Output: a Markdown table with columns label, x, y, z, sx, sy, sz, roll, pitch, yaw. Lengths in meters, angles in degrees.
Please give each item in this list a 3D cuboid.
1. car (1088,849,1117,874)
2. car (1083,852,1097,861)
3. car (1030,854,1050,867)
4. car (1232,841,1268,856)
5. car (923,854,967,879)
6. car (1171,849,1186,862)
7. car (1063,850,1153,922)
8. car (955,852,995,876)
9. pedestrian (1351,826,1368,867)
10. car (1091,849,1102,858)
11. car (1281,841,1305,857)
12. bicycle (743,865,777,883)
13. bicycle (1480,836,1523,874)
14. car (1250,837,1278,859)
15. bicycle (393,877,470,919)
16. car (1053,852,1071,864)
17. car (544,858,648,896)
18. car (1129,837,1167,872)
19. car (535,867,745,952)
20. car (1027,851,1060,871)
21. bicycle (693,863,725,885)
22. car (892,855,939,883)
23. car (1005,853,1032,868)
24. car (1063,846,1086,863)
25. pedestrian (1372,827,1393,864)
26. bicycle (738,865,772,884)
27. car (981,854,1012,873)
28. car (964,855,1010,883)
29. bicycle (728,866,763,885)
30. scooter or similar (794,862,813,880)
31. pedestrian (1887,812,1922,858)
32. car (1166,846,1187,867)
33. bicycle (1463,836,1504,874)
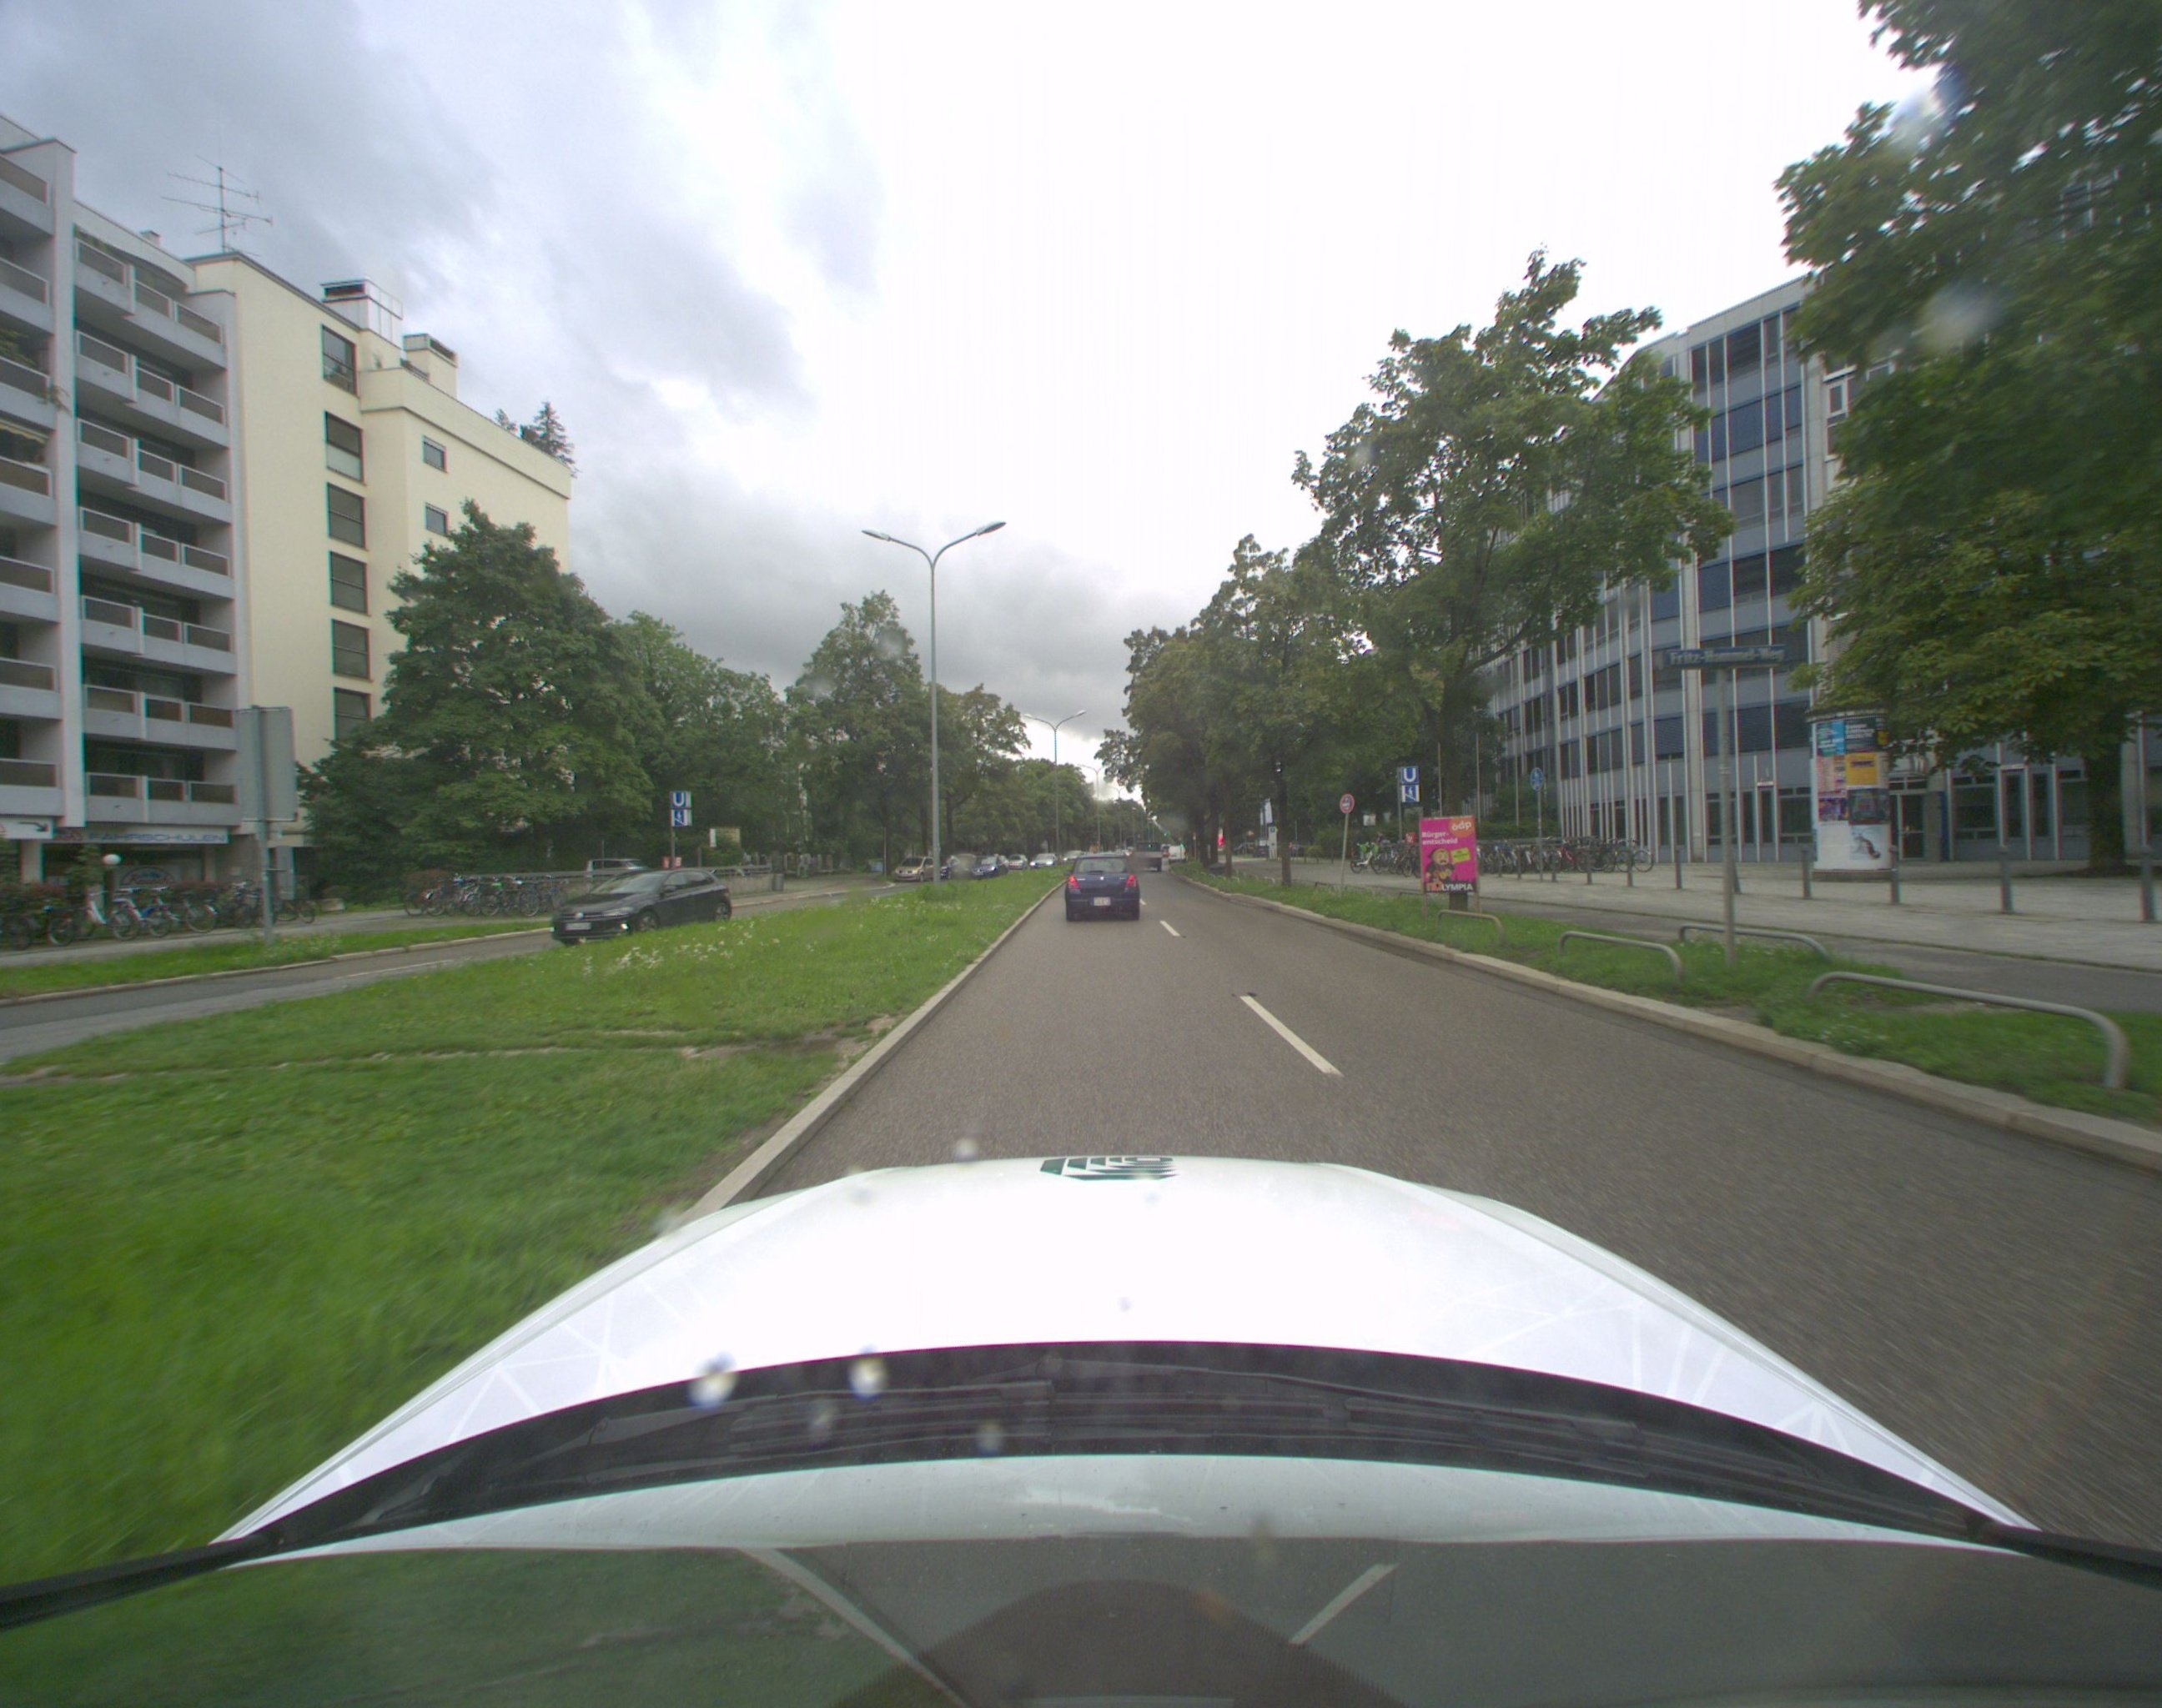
| label | x | y | z | sx | sy | sz | roll | pitch | yaw |
| --- | --- | --- | --- | --- | --- | --- | --- | --- | --- |
| car | 1.420 | 0.476 | 54.729 | 1.793 | 1.499 | 3.660 | -2 | 0 | 1 |
| car | 1.561 | 0.422 | 142.115 | 1.822 | 1.609 | 4.501 | 1 | 1 | 8 |
| car | -4.757 | 0.728 | 95.304 | 1.572 | 1.423 | 4.371 | 1 | 1 | 6 |
| car | 26.784 | -0.862 | 129.292 | 5.442 | 2.083 | 2.151 | -2 | 0 | 6 |
| car | -9.336 | 0.840 | 56.317 | 1.729 | 1.643 | 4.694 | 0 | 0 | 7 |
| car | 11.167 | 0.159 | 93.206 | 1.692 | 1.397 | 4.241 | -2 | 0 | 7 |
| car | 0.711 | 0.678 | 19.451 | 1.888 | 1.499 | 3.664 | -2 | 0 | 4 |
| car | -6.984 | 0.633 | 53.899 | 1.683 | 1.484 | 3.974 | -2 | 0 | 6 |
| pedestrian | 13.263 | -0.359 | 38.802 | 0.645 | 1.899 | 0.753 | -2 | 0 | 21 |
| car | 2.953 | -0.099 | 155.088 | 1.682 | 1.565 | 3.084 | -2 | 0 | 5 |
| car | 24.357 | -0.575 | 93.671 | 1.833 | 1.818 | 4.478 | -2 | 0 | 5 |
| bicycle | -18.727 | 1.174 | 47.512 | 1.753 | 1.007 | 0.437 | -2 | 0 | 6 |
| bicycle | 13.954 | 0.024 | 27.057 | 0.485 | 1.189 | 1.956 | -2 | 0 | 4 |
| car | 20.948 | -0.694 | 93.464 | 2.254 | 2.306 | 6.277 | -2 | 0 | 5 |
| bicycle | -18.863 | 1.256 | 23.718 | 0.405 | 1.097 | 1.959 | 2 | 1 | 9 |
| car | -2.557 | 0.504 | 110.067 | 1.707 | 1.524 | 5.044 | 1 | 1 | 6 |
| car | -23.248 | 1.090 | 39.103 | 3.964 | 1.589 | 1.753 | -2 | 0 | 8 |
| car | 4.970 | 0.012 | 59.776 | 2.405 | 2.444 | 5.099 | 0 | 0 | 8 |
| car | -8.862 | 1.043 | 16.841 | 1.774 | 1.405 | 4.108 | -2 | 0 | 5 |
| car | -3.000 | 0.510 | 65.666 | 1.905 | 1.484 | 4.873 | -2 | 0 | 6 |
| bicycle | -20.527 | 1.100 | 44.930 | 0.575 | 1.099 | 2.036 | -2 | 0 | 8 |
| car | -10.232 | 0.904 | 50.583 | 1.638 | 1.614 | 3.828 | 0 | 0 | 9 |
| car | -6.256 | 0.627 | 81.801 | 1.727 | 1.448 | 4.831 | 1 | 0 | 6 |
| car | -0.635 | 0.021 | 83.964 | 1.757 | 1.624 | 4.385 | -2 | 0 | 7 |
| pedestrian | 14.486 | -0.418 | 39.164 | 0.775 | 1.714 | 0.755 | -2 | 0 | 28 |
| bicycle | -18.792 | 1.195 | 46.922 | 1.753 | 1.007 | 0.437 | -2 | 0 | 6 |
| car | -7.429 | 0.815 | 71.864 | 1.729 | 1.529 | 4.485 | 0 | 0 | 7 |
| car | -5.263 | 0.796 | 45.975 | 1.683 | 1.402 | 3.974 | -2 | 0 | 6 |
| bicycle | -18.717 | 1.194 | 45.405 | 1.753 | 1.007 | 0.437 | -2 | 0 | 6 |
| scooter or similar | -18.019 | 1.100 | 52.865 | 0.431 | 1.127 | 1.296 | -2 | 0 | 19 |
| pedestrian | 30.900 | -0.695 | 30.567 | 0.646 | 1.678 | 0.703 | -2 | 0 | 18 |
| car | 10.238 | 0.246 | 87.015 | 1.976 | 2.157 | 5.567 | -2 | 0 | 7 |
| bicycle | 13.376 | 0.024 | 27.096 | 0.485 | 1.189 | 1.956 | -2 | 0 | 4 |
